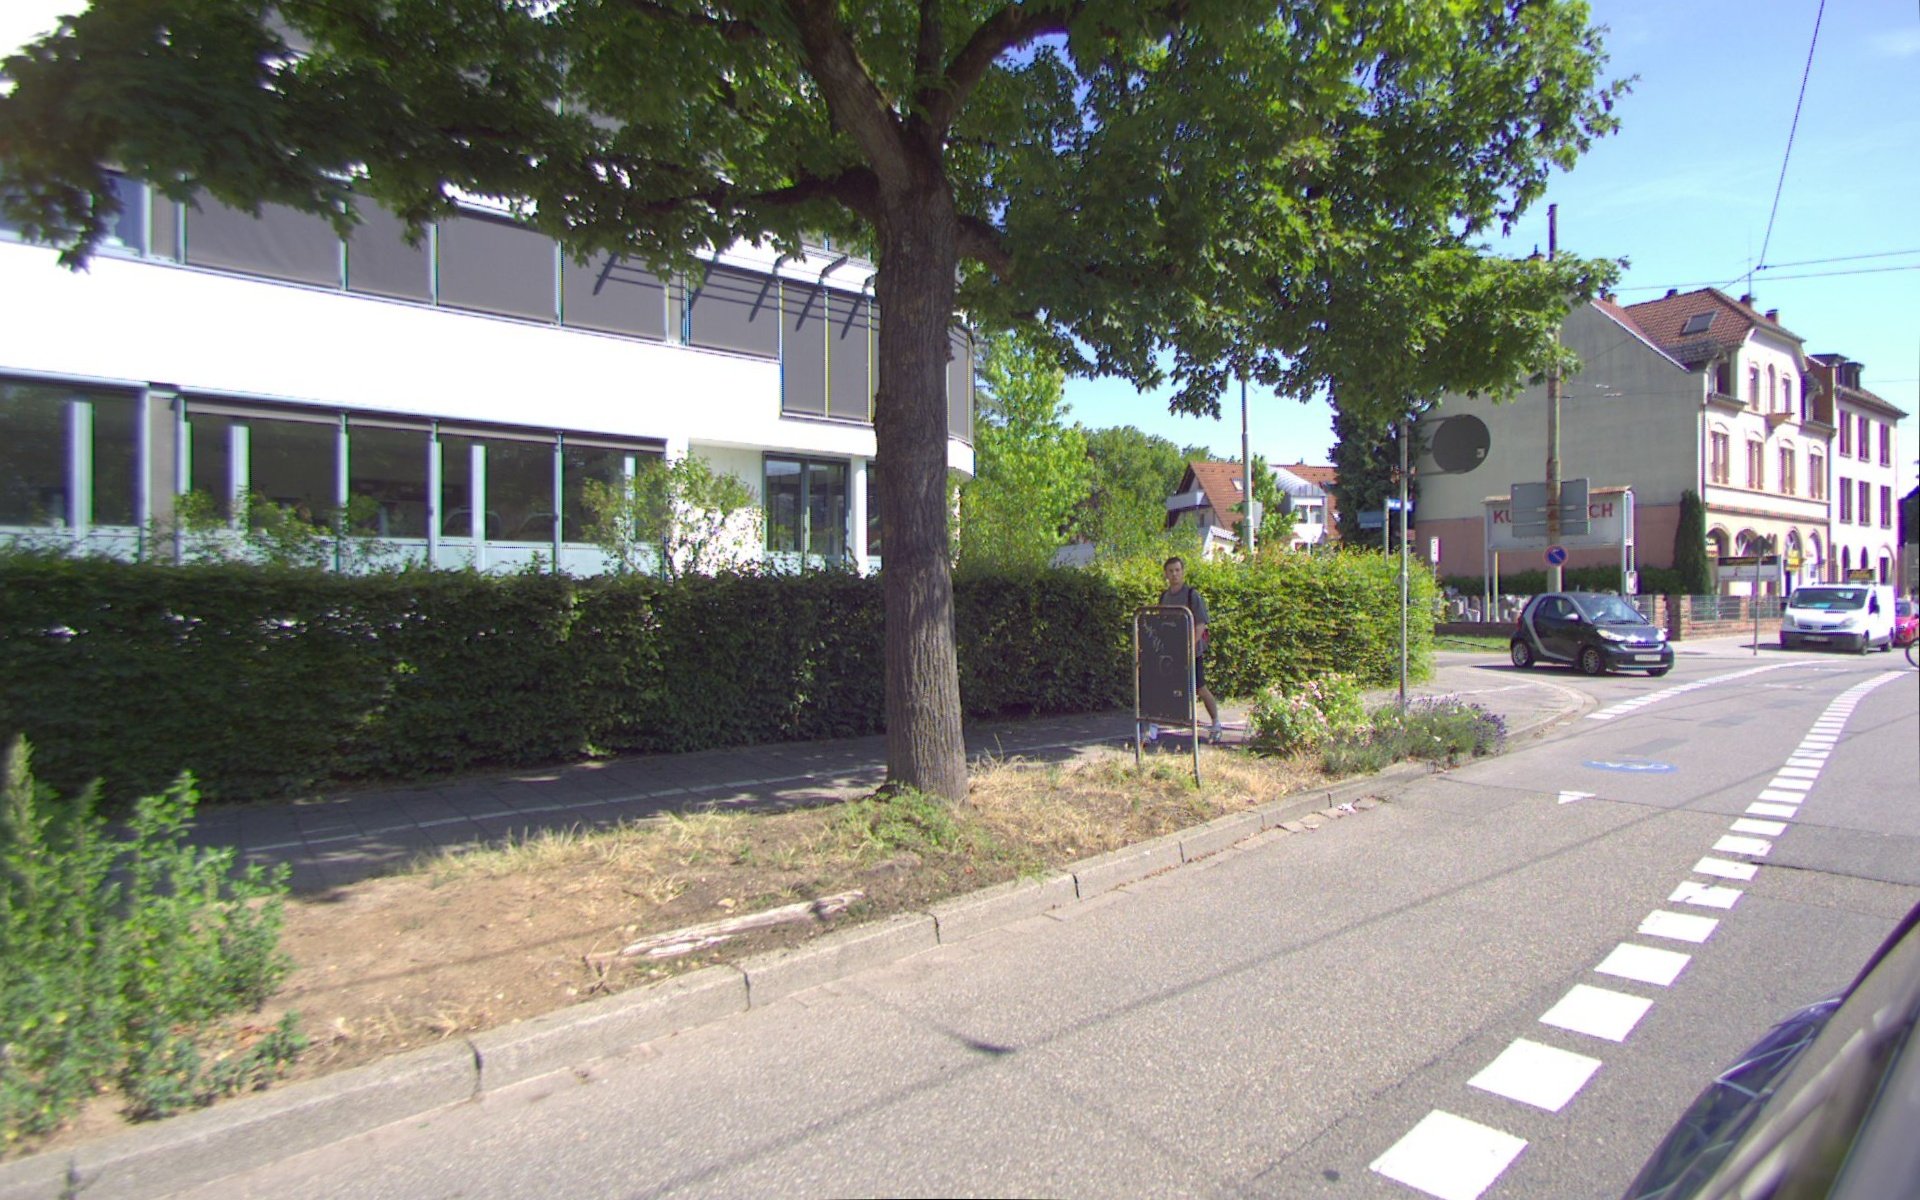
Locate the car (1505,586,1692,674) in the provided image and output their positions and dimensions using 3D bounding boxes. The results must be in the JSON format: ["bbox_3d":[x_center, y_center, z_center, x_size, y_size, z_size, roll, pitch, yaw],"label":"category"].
[{"bbox_3d":[12.180,0.509,19.505,1.449,1.558,2.981,0,1,-9],"label":"car"}]

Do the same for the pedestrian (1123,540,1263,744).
[{"bbox_3d":[2.263,0.378,9.827,1.056,1.841,0.890,0,-1,-45],"label":"pedestrian"}]

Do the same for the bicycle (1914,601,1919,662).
[{"bbox_3d":[20.067,0.634,19.711,0.602,1.212,2.118,0,0,-43],"label":"bicycle"}]

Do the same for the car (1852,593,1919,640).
[{"bbox_3d":[30.574,0.489,32.834,3.927,1.424,1.724,0,0,-37],"label":"car"}]

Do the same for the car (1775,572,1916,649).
[{"bbox_3d":[25.627,0.243,29.250,4.816,2.039,2.090,0,1,-37],"label":"car"}]
